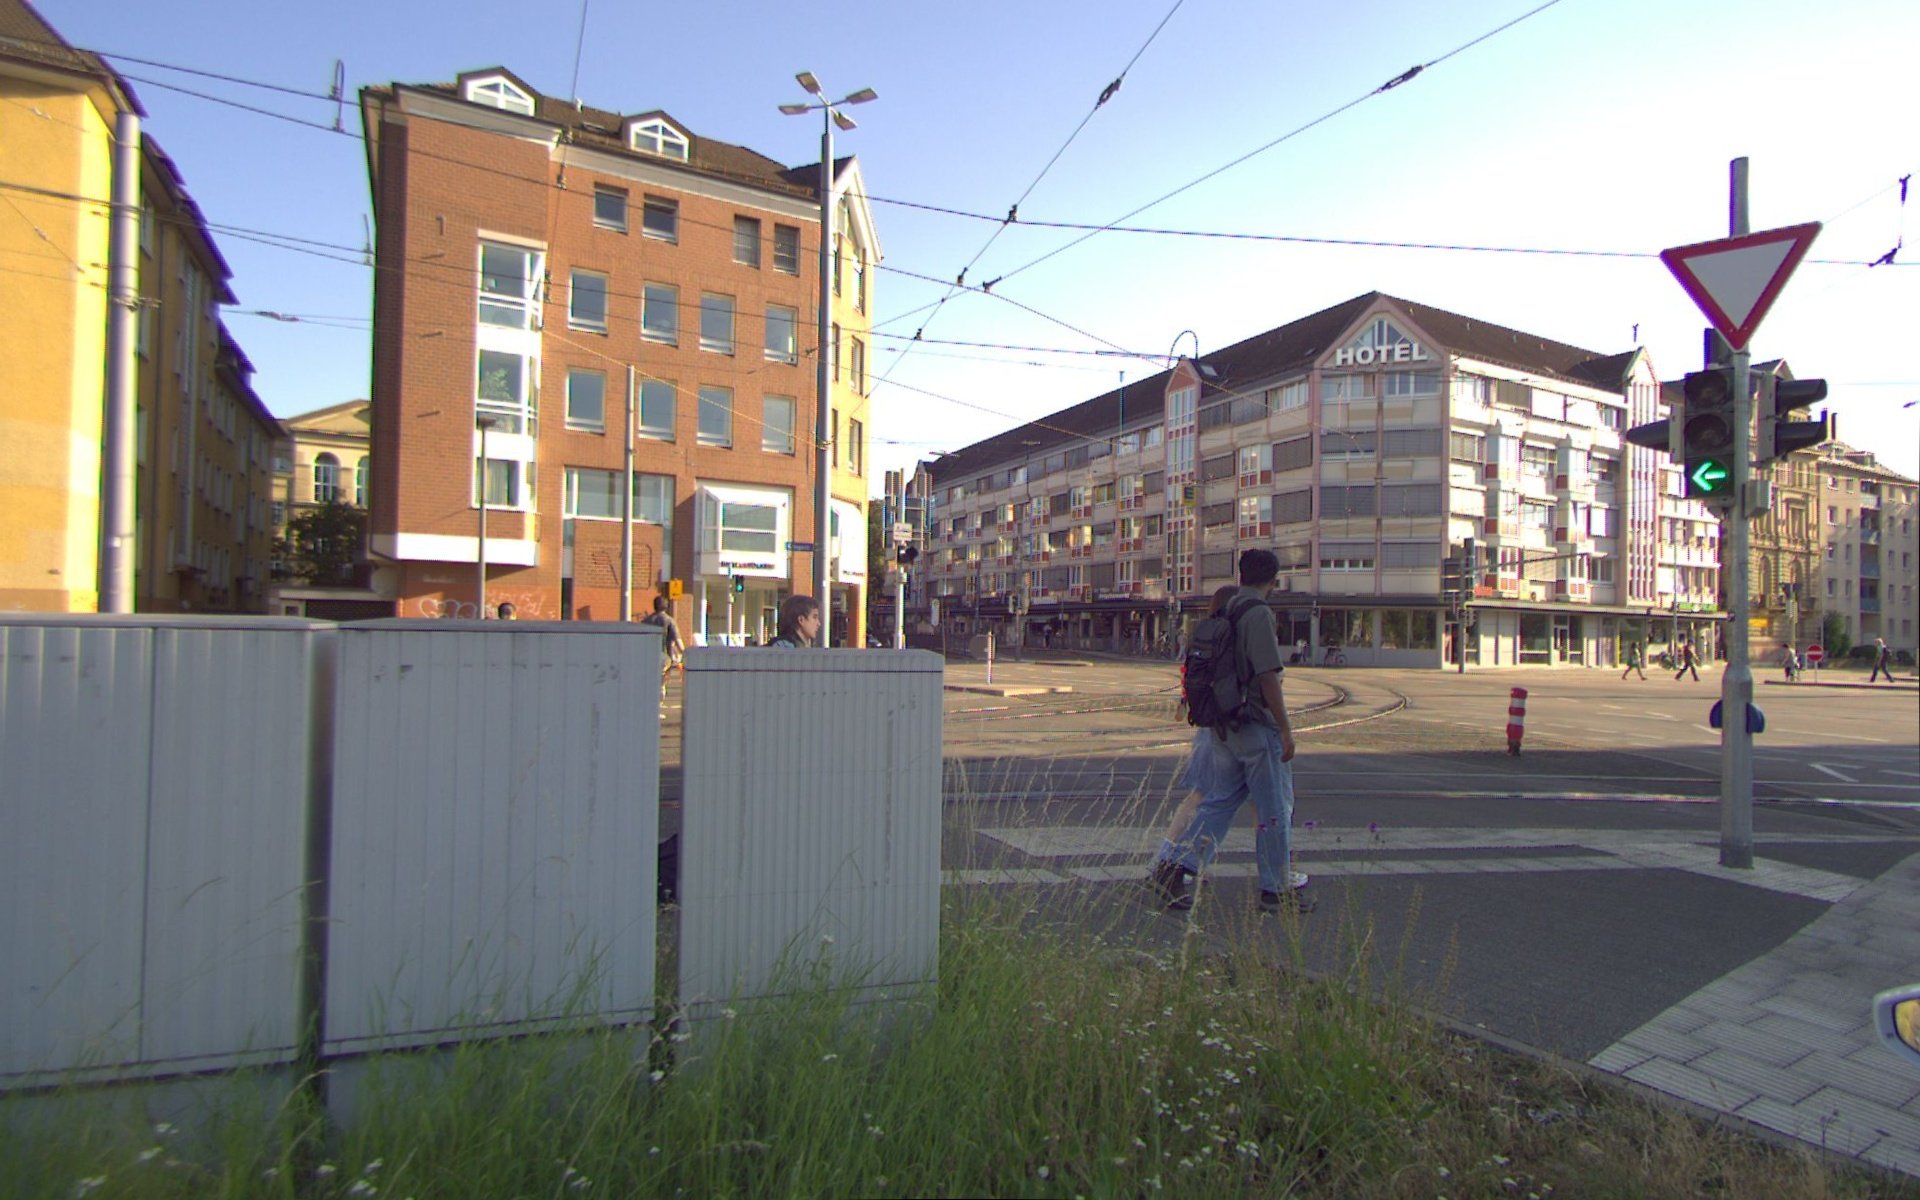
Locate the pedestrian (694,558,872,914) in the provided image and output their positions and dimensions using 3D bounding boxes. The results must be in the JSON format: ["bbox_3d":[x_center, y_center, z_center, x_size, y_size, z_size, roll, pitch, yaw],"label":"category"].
[{"bbox_3d":[-0.926,0.642,5.182,0.612,1.662,0.781,2,0,-31],"label":"pedestrian"}]

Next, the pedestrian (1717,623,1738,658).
[{"bbox_3d":[53.425,2.821,69.960,0.953,2.430,0.919,2,0,-40],"label":"pedestrian"}]

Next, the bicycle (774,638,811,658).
[{"bbox_3d":[-8.831,2.529,52.964,1.813,0.973,0.540,2,0,-27],"label":"bicycle"}]

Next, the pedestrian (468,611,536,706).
[{"bbox_3d":[-8.032,1.004,17.637,0.825,1.605,0.683,2,0,-2],"label":"pedestrian"}]

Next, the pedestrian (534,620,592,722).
[{"bbox_3d":[-5.680,1.006,14.398,0.585,1.379,0.608,1,4,-2],"label":"pedestrian"}]

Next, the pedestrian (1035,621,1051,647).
[{"bbox_3d":[5.469,2.262,66.369,0.773,1.682,0.677,2,0,-35],"label":"pedestrian"}]

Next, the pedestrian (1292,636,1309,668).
[{"bbox_3d":[18.365,2.800,54.220,0.705,1.684,0.631,0,-2,37],"label":"pedestrian"}]

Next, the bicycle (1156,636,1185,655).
[{"bbox_3d":[13.969,3.013,66.704,0.720,1.243,2.319,2,-2,-23],"label":"bicycle"}]

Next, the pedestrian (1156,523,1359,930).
[{"bbox_3d":[1.442,0.577,4.991,0.882,1.824,0.789,1,-2,12],"label":"pedestrian"}]

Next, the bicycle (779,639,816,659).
[{"bbox_3d":[-8.456,2.540,52.231,1.813,0.974,0.540,2,0,-27],"label":"bicycle"}]

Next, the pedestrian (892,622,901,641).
[{"bbox_3d":[-7.066,3.490,111.613,0.829,2.040,0.774,2,0,-20],"label":"pedestrian"}]

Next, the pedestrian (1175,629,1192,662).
[{"bbox_3d":[12.084,2.457,54.275,0.612,1.717,0.866,2,0,29],"label":"pedestrian"}]

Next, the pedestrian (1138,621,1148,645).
[{"bbox_3d":[12.940,2.298,70.886,0.598,1.657,0.604,2,0,16],"label":"pedestrian"}]

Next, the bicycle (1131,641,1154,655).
[{"bbox_3d":[12.610,3.297,69.393,0.494,0.929,2.067,2,-2,-23],"label":"bicycle"}]

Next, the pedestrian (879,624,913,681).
[{"bbox_3d":[-2.086,1.699,32.753,0.824,1.781,0.687,2,0,-43],"label":"pedestrian"}]

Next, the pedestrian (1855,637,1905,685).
[{"bbox_3d":[35.103,2.325,38.333,0.847,1.754,1.187,2,0,-34],"label":"pedestrian"}]

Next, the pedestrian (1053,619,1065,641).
[{"bbox_3d":[7.741,2.336,78.557,0.741,1.667,0.547,2,0,-20],"label":"pedestrian"}]

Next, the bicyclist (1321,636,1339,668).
[{"bbox_3d":[19.477,2.722,52.906,0.649,1.618,0.637,-1,1,-26],"label":"bicyclist"}]

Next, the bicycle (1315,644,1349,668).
[{"bbox_3d":[19.614,2.951,52.983,1.746,1.160,0.636,-1,1,-26],"label":"bicycle"}]

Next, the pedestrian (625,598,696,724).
[{"bbox_3d":[-4.428,0.880,14.914,0.761,1.781,0.900,2,0,-3],"label":"pedestrian"}]

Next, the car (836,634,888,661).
[{"bbox_3d":[-5.372,2.570,54.722,1.725,1.261,3.916,2,0,-22],"label":"car"}]

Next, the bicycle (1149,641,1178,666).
[{"bbox_3d":[12.504,3.293,61.815,0.576,1.385,2.081,0,0,-25],"label":"bicycle"}]

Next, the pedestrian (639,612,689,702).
[{"bbox_3d":[-5.525,1.045,18.780,0.596,1.609,0.789,2,0,3],"label":"pedestrian"}]

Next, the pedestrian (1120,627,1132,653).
[{"bbox_3d":[12.145,2.938,73.542,0.601,1.877,0.601,2,0,-20],"label":"pedestrian"}]

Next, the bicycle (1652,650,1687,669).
[{"bbox_3d":[43.979,3.688,62.266,2.056,1.085,0.451,2,0,-13],"label":"bicycle"}]

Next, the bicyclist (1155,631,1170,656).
[{"bbox_3d":[12.474,2.701,61.884,0.559,1.501,0.733,0,1,-26],"label":"bicyclist"}]

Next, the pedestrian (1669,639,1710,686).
[{"bbox_3d":[31.012,2.645,42.729,0.847,1.909,1.187,-2,2,-34],"label":"pedestrian"}]

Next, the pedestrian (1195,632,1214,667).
[{"bbox_3d":[12.786,2.567,52.592,0.503,1.787,1.001,2,0,41],"label":"pedestrian"}]

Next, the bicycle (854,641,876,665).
[{"bbox_3d":[-4.564,2.538,48.313,0.625,1.062,1.829,2,0,-19],"label":"bicycle"}]

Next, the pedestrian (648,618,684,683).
[{"bbox_3d":[-7.507,1.287,25.680,0.828,1.605,0.681,2,0,-15],"label":"pedestrian"}]

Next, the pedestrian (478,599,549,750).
[{"bbox_3d":[-4.838,0.778,10.867,0.612,1.556,0.782,2,0,-28],"label":"pedestrian"}]

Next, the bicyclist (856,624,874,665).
[{"bbox_3d":[-4.597,2.148,48.450,0.625,1.904,0.807,2,0,-19],"label":"bicyclist"}]

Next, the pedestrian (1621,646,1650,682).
[{"bbox_3d":[28.527,2.704,42.413,0.847,1.472,0.700,2,0,-34],"label":"pedestrian"}]

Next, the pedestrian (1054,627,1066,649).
[{"bbox_3d":[8.075,3.061,81.068,0.804,1.802,0.680,2,0,1],"label":"pedestrian"}]

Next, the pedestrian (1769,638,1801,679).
[{"bbox_3d":[32.030,2.275,38.994,0.841,1.483,0.685,2,-5,32],"label":"pedestrian"}]

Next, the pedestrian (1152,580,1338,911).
[{"bbox_3d":[1.579,0.748,5.629,0.882,1.662,0.788,2,0,15],"label":"pedestrian"}]
